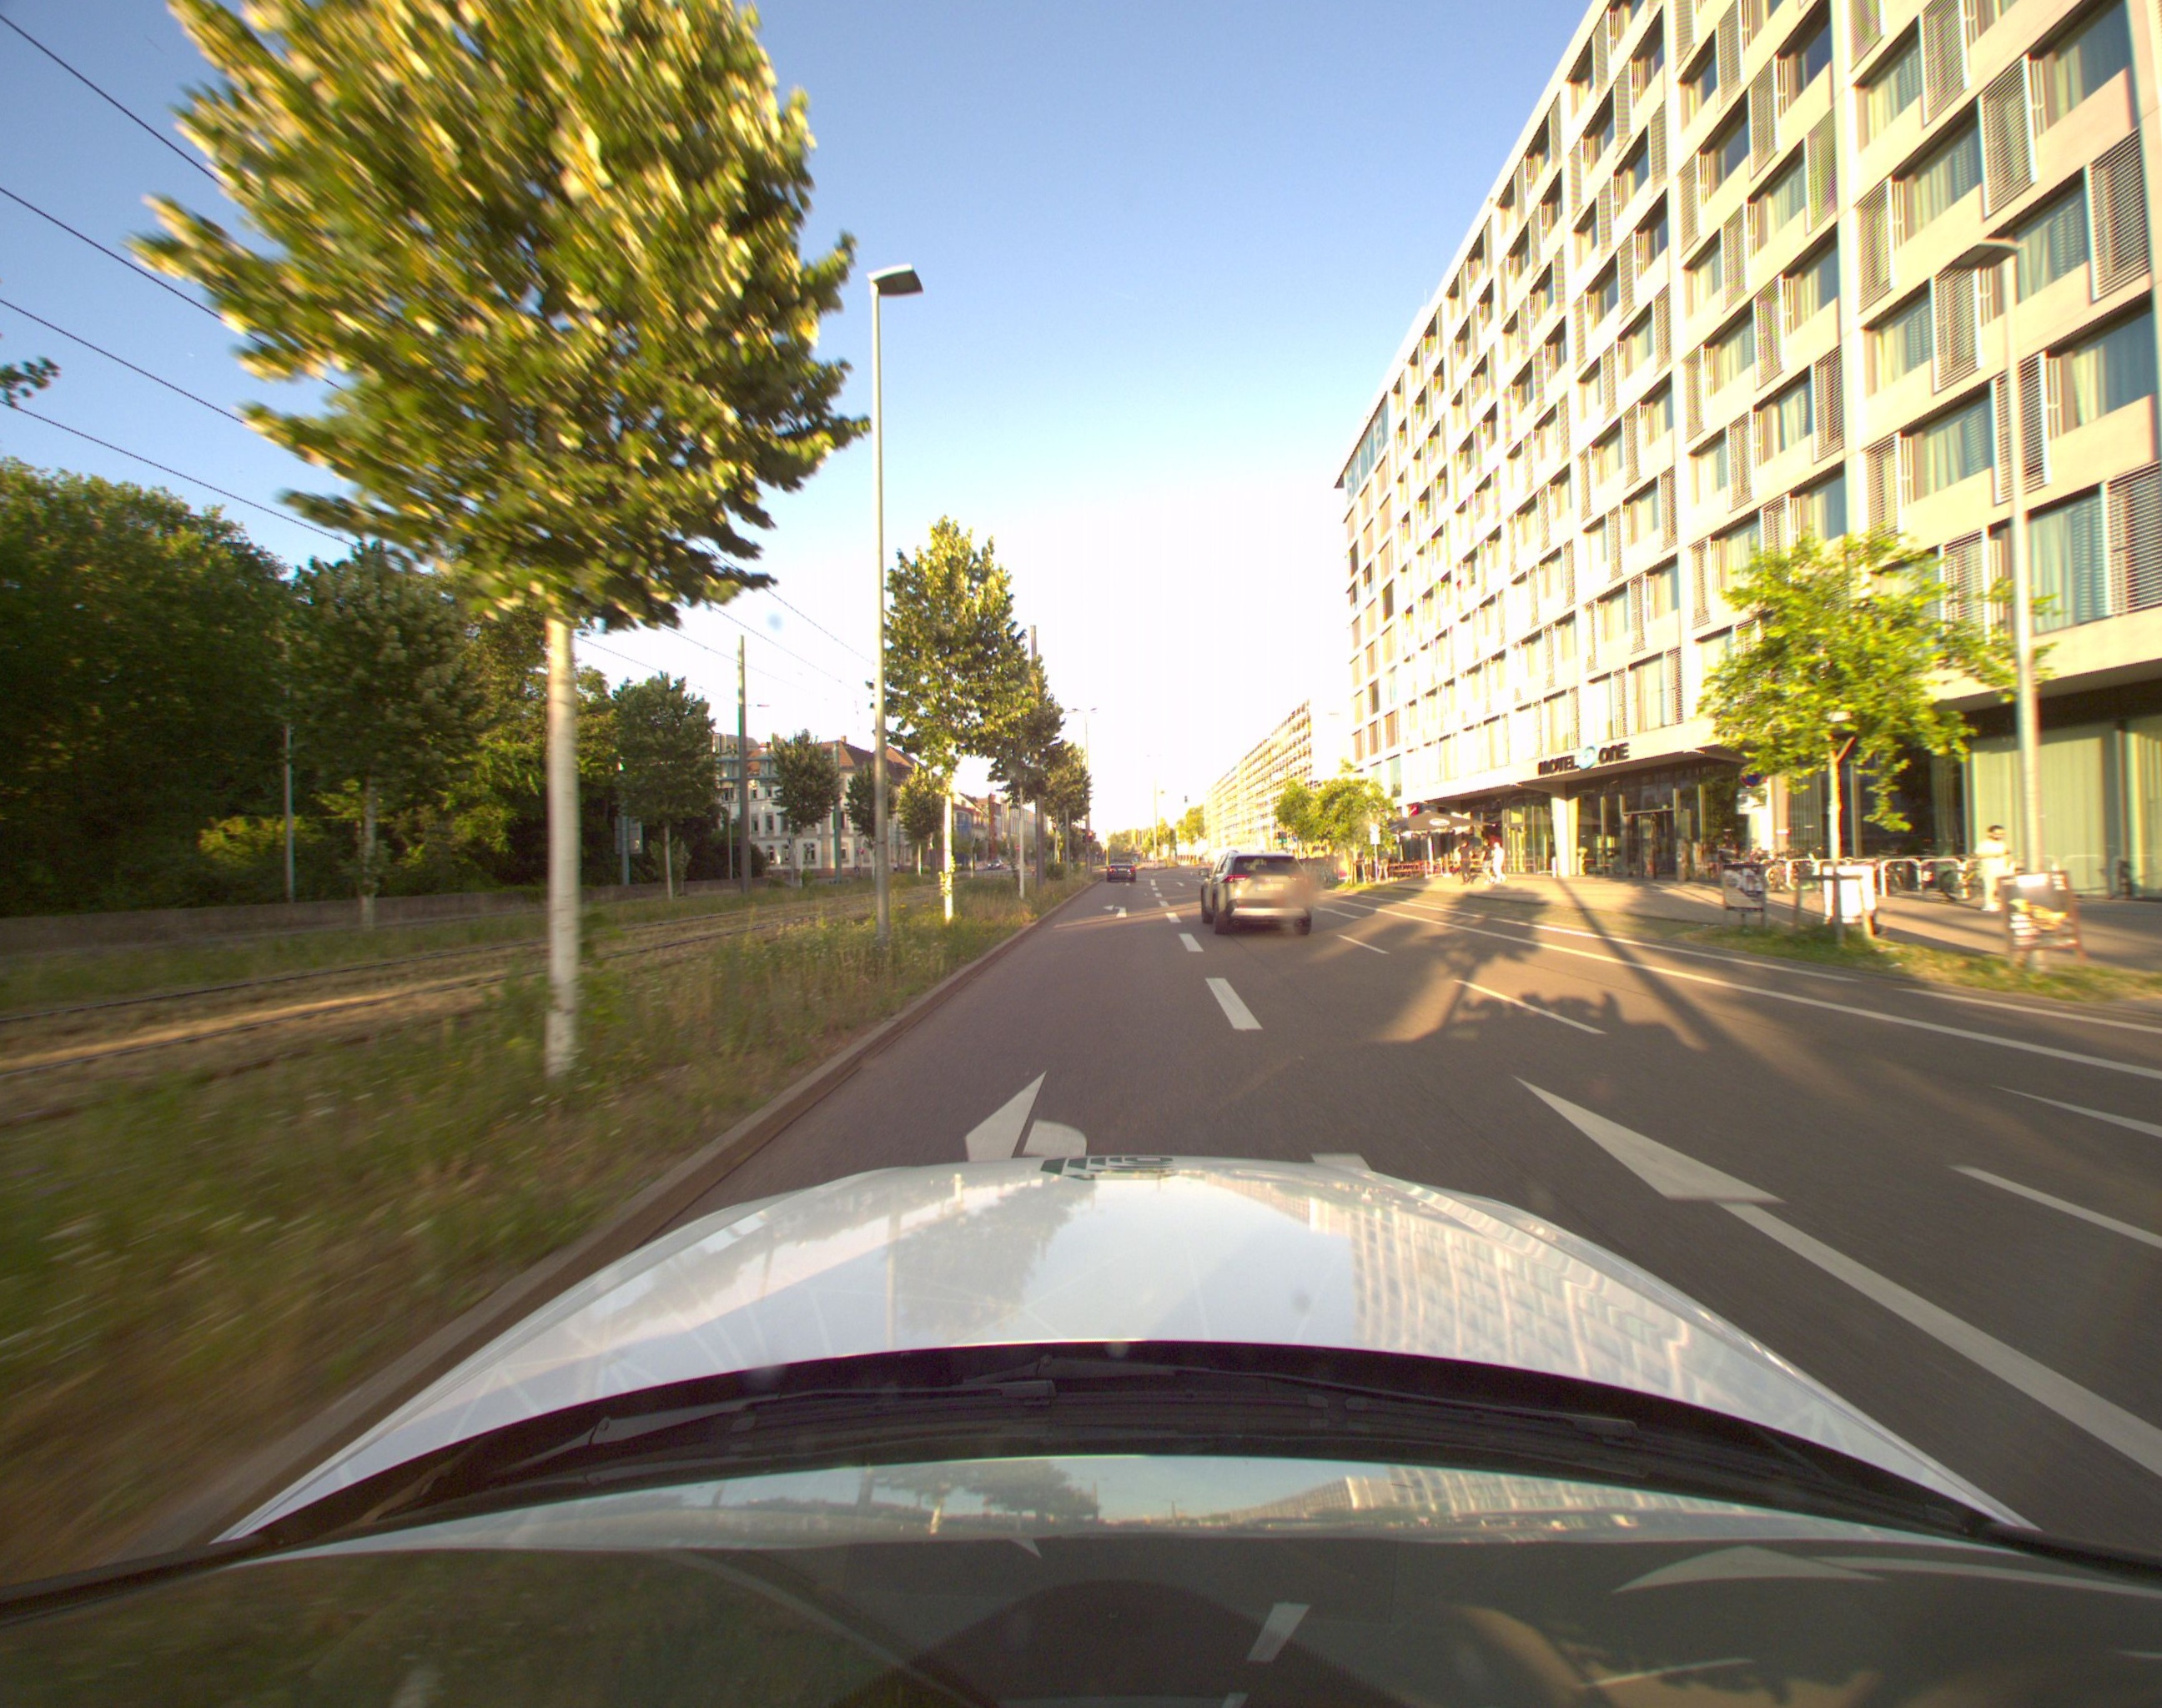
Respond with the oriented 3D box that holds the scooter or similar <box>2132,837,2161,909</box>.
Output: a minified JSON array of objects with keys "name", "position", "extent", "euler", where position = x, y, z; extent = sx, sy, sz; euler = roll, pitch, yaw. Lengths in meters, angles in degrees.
[{"name":"scooter or similar","position":[19.158,0.258,13.568],"extent":[2.363,1.183,0.621],"euler":[-3,0,2]}]

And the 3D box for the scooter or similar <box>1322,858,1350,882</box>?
[{"name":"scooter or similar","position":[13.618,0.847,43.548],"extent":[1.280,1.218,0.539],"euler":[-4,-1,27]}]

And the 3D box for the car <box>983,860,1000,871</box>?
[{"name":"car","position":[-14.360,1.895,130.984],"extent":[1.984,1.580,4.129],"euler":[-3,0,4]}]

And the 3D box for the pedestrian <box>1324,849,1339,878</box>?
[{"name":"pedestrian","position":[15.227,0.569,49.482],"extent":[0.651,1.702,0.690],"euler":[-3,0,3]}]

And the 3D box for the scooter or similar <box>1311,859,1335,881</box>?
[{"name":"scooter or similar","position":[13.627,0.891,45.910],"extent":[1.150,1.191,0.510],"euler":[-4,-2,5]}]

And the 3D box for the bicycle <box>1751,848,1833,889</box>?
[{"name":"bicycle","position":[18.974,0.393,21.752],"extent":[1.694,0.986,0.551],"euler":[-3,0,0]}]

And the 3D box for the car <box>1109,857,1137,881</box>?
[{"name":"car","position":[2.550,0.886,49.090],"extent":[1.667,1.352,4.004],"euler":[0,0,3]}]

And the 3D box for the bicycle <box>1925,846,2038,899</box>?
[{"name":"bicycle","position":[18.741,0.370,16.964],"extent":[1.694,0.986,0.551],"euler":[-3,0,0]}]

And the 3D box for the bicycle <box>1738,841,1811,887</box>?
[{"name":"bicycle","position":[19.296,0.279,22.667],"extent":[1.606,1.154,0.610],"euler":[-3,0,-10]}]

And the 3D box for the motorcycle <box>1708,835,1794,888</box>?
[{"name":"motorcycle","position":[19.234,0.214,23.381],"extent":[2.112,1.386,0.669],"euler":[-3,0,-11]}]

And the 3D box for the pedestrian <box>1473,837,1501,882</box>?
[{"name":"pedestrian","position":[16.785,0.225,33.679],"extent":[0.751,1.824,0.943],"euler":[-4,-1,12]}]

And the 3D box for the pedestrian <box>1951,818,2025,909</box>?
[{"name":"pedestrian","position":[16.948,0.172,15.226],"extent":[0.574,1.619,0.643],"euler":[-3,0,2]}]

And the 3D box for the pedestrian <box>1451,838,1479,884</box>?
[{"name":"pedestrian","position":[16.005,0.281,33.974],"extent":[0.738,1.849,0.943],"euler":[-4,-1,12]}]

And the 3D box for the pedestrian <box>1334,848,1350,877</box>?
[{"name":"pedestrian","position":[15.923,0.504,49.654],"extent":[0.682,1.735,0.761],"euler":[-4,0,3]}]

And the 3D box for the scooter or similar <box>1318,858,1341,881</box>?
[{"name":"scooter or similar","position":[13.785,0.861,45.116],"extent":[1.119,1.214,0.534],"euler":[-4,-2,18]}]

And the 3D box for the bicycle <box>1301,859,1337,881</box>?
[{"name":"bicycle","position":[13.746,0.926,47.077],"extent":[1.839,1.182,0.608],"euler":[-4,0,2]}]

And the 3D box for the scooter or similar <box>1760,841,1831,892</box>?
[{"name":"scooter or similar","position":[18.524,0.314,21.133],"extent":[1.264,1.233,0.608],"euler":[-3,0,-1]}]

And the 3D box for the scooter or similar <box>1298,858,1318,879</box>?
[{"name":"scooter or similar","position":[13.926,0.893,50.019],"extent":[1.054,1.223,0.551],"euler":[-4,-1,12]}]

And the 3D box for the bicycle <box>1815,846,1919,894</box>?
[{"name":"bicycle","position":[18.953,0.379,19.654],"extent":[1.878,1.010,0.566],"euler":[-4,-1,1]}]

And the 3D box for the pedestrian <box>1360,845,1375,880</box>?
[{"name":"pedestrian","position":[14.843,0.448,42.196],"extent":[0.572,1.786,0.832],"euler":[-3,-2,14]}]

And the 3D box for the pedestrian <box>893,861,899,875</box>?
[{"name":"pedestrian","position":[-22.834,1.717,100.417],"extent":[0.703,1.715,0.809],"euler":[1,0,-14]}]

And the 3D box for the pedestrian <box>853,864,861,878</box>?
[{"name":"pedestrian","position":[-23.755,1.746,86.213],"extent":[0.601,1.458,0.936],"euler":[0,0,-1]}]

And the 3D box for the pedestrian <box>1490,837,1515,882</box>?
[{"name":"pedestrian","position":[17.569,0.220,33.968],"extent":[0.614,1.811,0.779],"euler":[-5,-1,12]}]

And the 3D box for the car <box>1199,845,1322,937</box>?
[{"name":"car","position":[3.620,0.682,17.166],"extent":[1.826,1.672,4.285],"euler":[0,0,3]}]

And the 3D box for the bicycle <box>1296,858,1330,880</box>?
[{"name":"bicycle","position":[13.926,0.899,48.881],"extent":[1.788,1.193,0.567],"euler":[-4,0,-2]}]

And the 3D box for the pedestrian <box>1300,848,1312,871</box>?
[{"name":"pedestrian","position":[18.455,0.432,66.804],"extent":[0.765,1.847,0.679],"euler":[-2,0,3]}]

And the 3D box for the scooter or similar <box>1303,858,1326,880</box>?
[{"name":"scooter or similar","position":[13.864,0.894,48.349],"extent":[1.206,1.201,0.480],"euler":[-4,0,-2]}]

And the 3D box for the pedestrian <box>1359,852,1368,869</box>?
[{"name":"pedestrian","position":[22.627,0.544,65.211],"extent":[0.607,1.319,0.624],"euler":[-5,-1,21]}]

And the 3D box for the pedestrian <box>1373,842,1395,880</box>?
[{"name":"pedestrian","position":[15.554,0.359,41.792],"extent":[0.819,1.888,0.869],"euler":[-3,-2,11]}]
